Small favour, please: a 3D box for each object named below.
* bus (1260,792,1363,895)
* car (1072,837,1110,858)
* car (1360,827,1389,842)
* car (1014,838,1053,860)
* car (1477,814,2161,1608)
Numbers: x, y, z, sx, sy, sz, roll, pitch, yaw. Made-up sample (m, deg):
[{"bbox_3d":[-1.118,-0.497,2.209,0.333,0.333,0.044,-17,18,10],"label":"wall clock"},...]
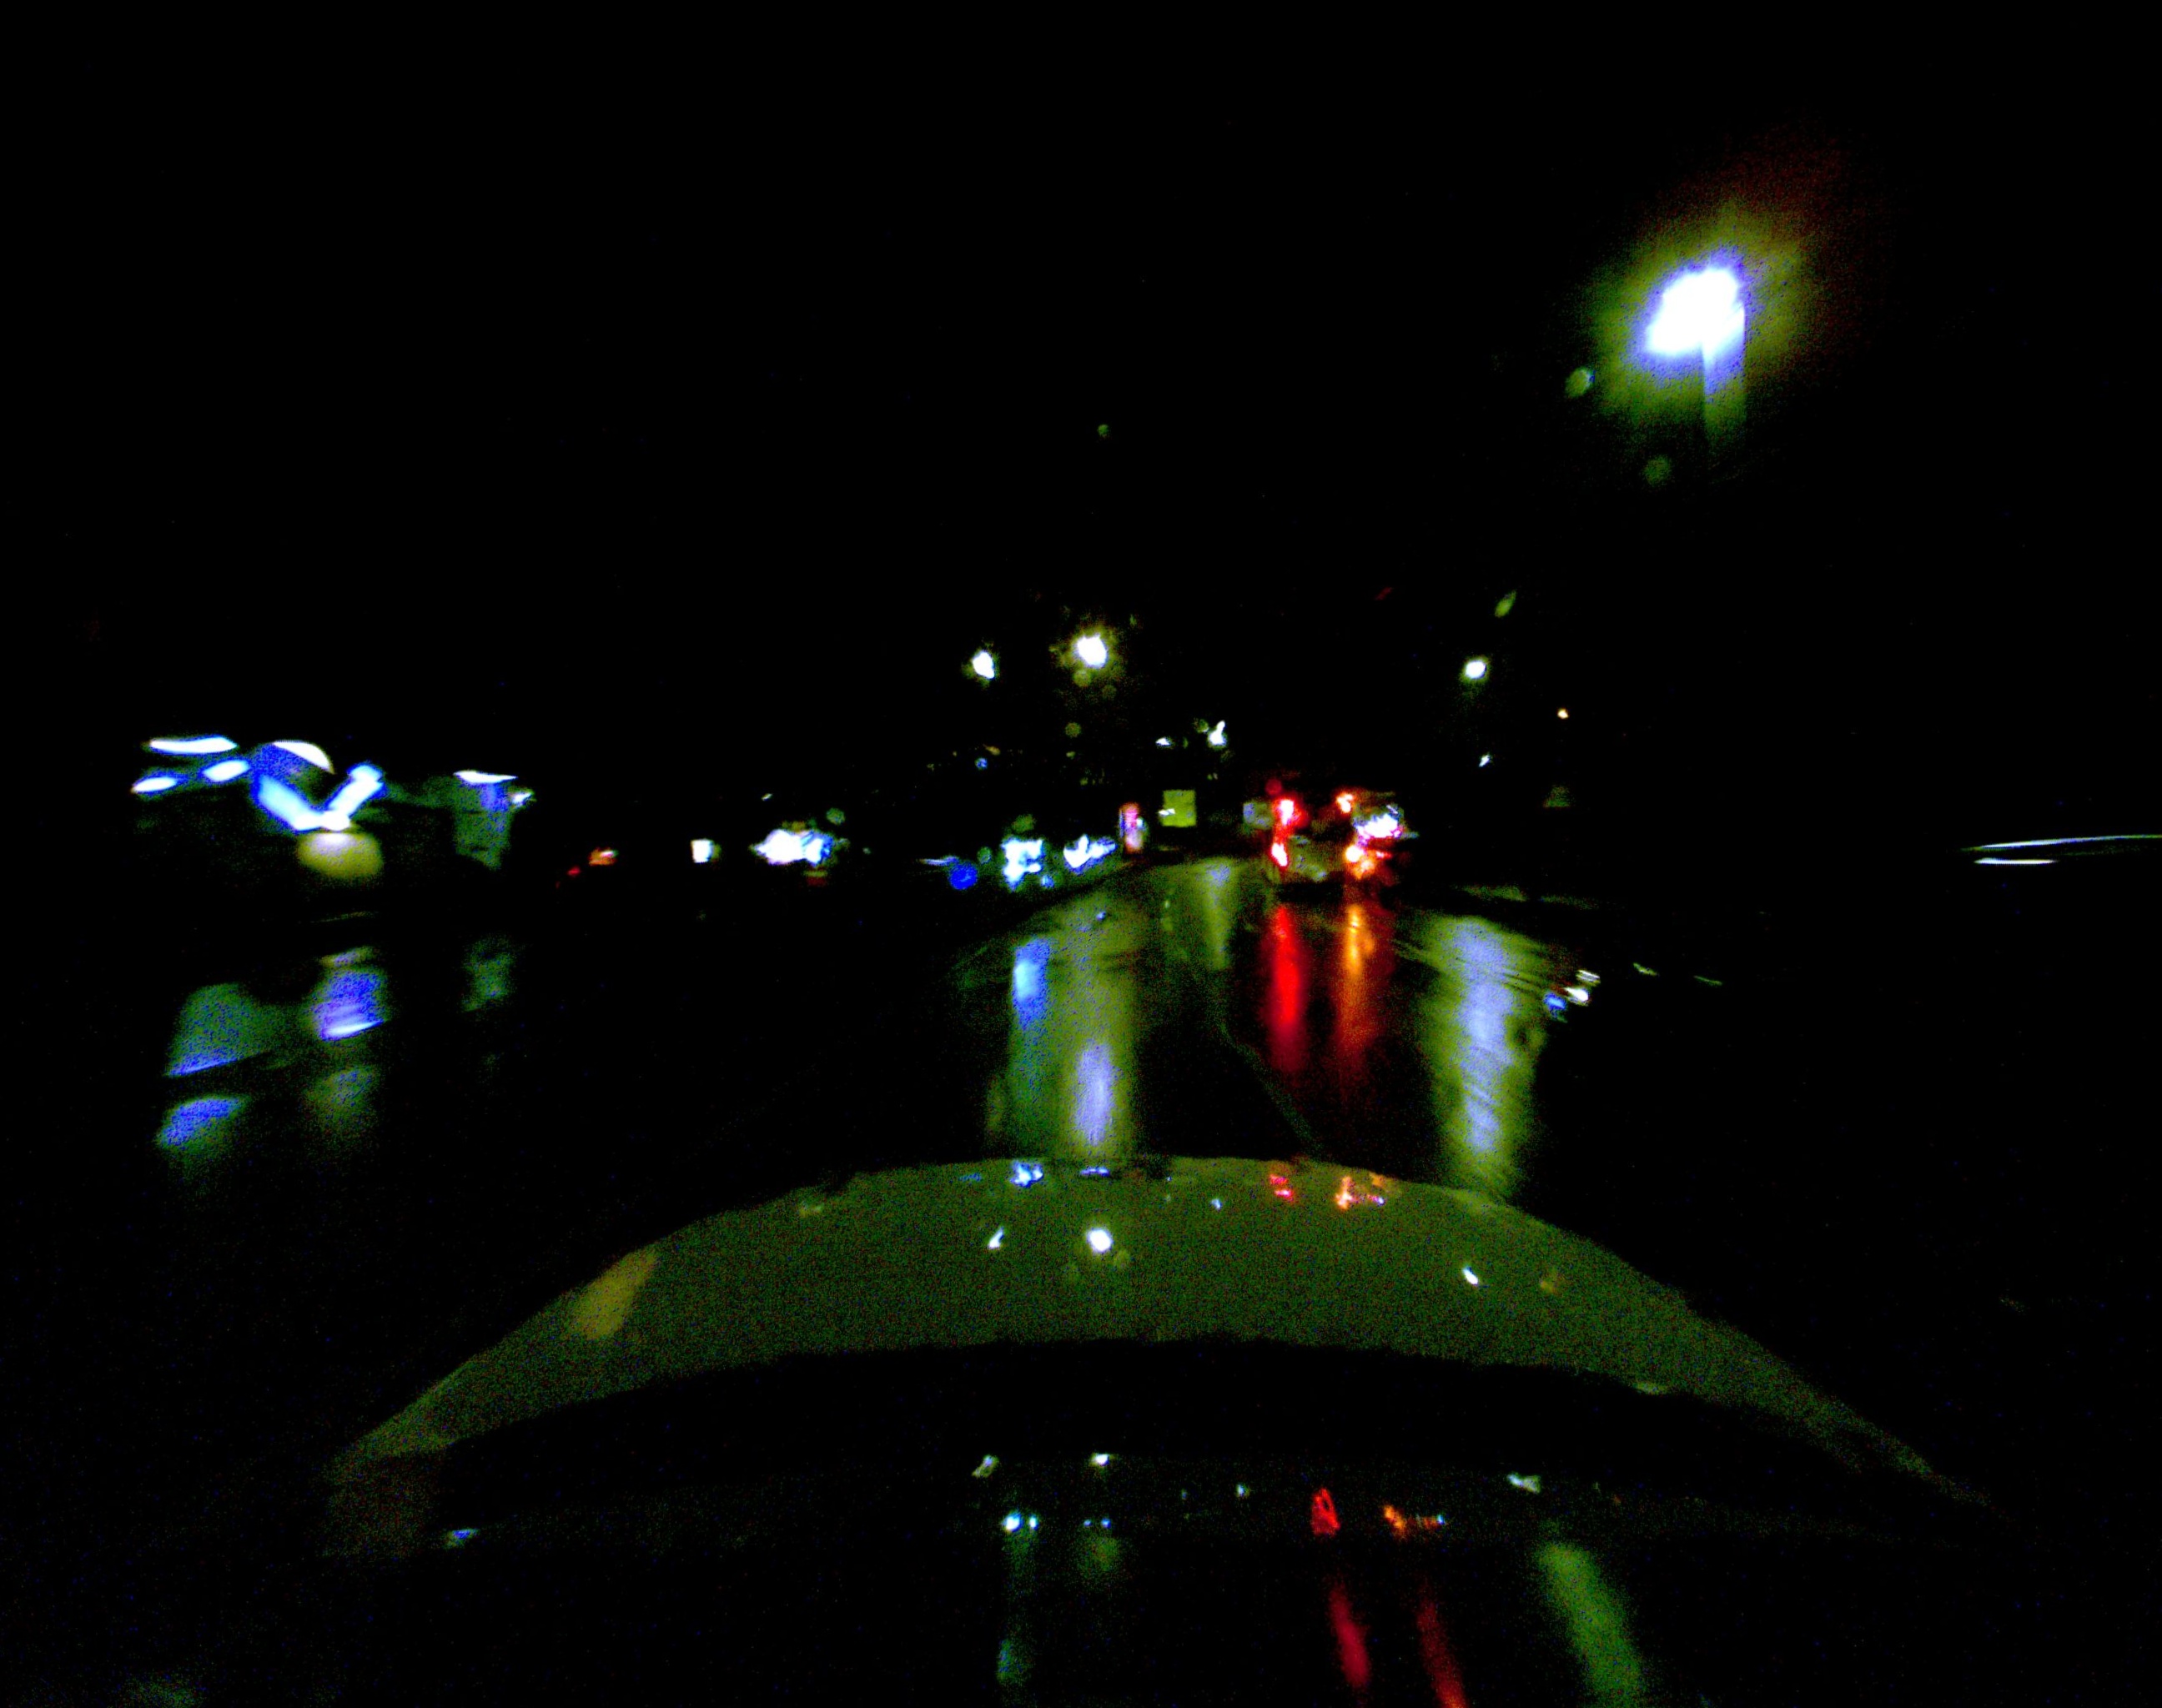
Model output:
[{"bbox_3d":[8.310,-0.325,30.406,3.023,3.212,9.080,-1,0,12],"label":"bus"},{"bbox_3d":[0.805,-0.500,63.022,1.853,1.463,4.657,-4,0,14],"label":"car"},{"bbox_3d":[31.471,-2.125,87.387,1.758,1.501,4.026,0,2,37],"label":"car"},{"bbox_3d":[-3.607,-0.390,62.924,1.981,1.594,4.013,-2,1,11],"label":"car"},{"bbox_3d":[3.092,0.664,2.440,1.986,1.524,4.002,-1,0,2],"label":"car"}]
